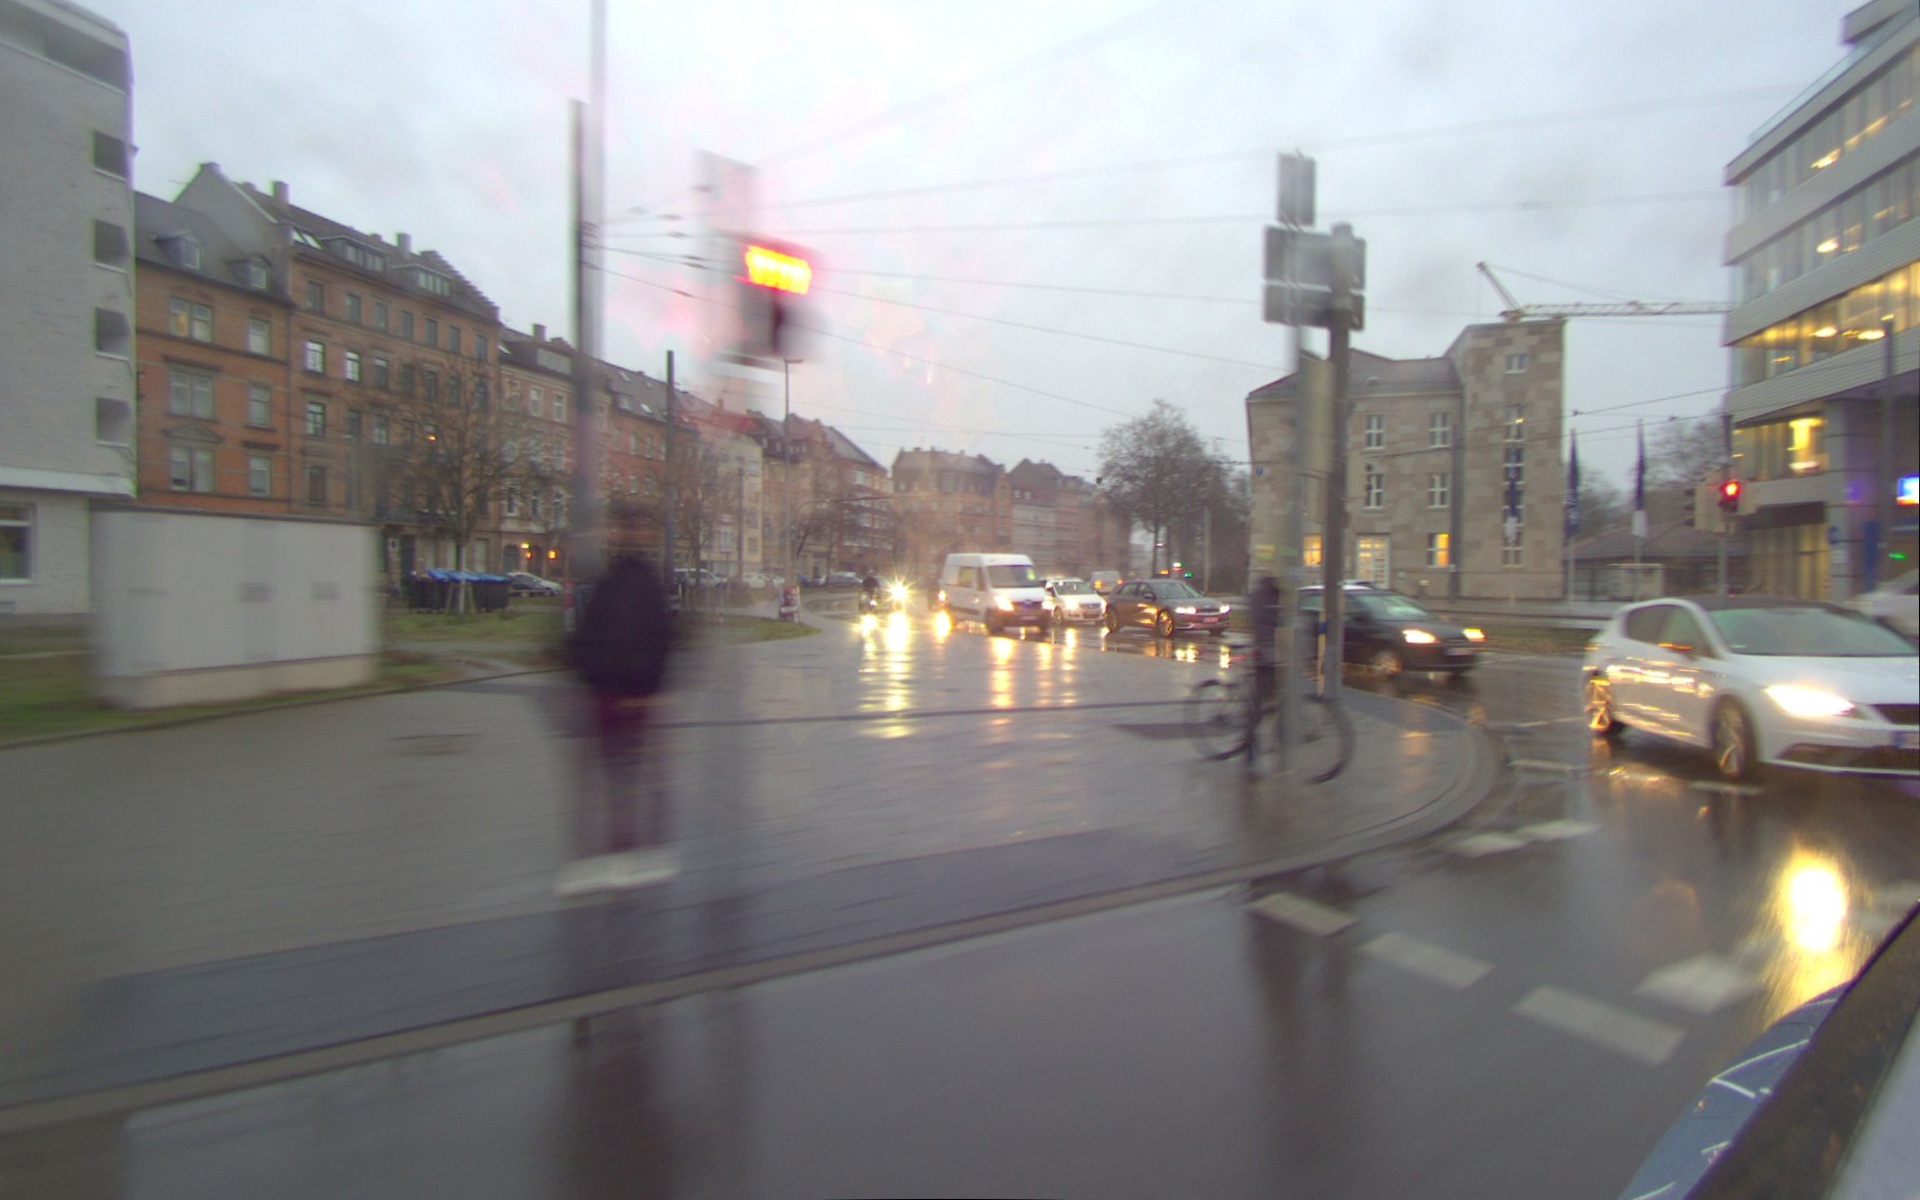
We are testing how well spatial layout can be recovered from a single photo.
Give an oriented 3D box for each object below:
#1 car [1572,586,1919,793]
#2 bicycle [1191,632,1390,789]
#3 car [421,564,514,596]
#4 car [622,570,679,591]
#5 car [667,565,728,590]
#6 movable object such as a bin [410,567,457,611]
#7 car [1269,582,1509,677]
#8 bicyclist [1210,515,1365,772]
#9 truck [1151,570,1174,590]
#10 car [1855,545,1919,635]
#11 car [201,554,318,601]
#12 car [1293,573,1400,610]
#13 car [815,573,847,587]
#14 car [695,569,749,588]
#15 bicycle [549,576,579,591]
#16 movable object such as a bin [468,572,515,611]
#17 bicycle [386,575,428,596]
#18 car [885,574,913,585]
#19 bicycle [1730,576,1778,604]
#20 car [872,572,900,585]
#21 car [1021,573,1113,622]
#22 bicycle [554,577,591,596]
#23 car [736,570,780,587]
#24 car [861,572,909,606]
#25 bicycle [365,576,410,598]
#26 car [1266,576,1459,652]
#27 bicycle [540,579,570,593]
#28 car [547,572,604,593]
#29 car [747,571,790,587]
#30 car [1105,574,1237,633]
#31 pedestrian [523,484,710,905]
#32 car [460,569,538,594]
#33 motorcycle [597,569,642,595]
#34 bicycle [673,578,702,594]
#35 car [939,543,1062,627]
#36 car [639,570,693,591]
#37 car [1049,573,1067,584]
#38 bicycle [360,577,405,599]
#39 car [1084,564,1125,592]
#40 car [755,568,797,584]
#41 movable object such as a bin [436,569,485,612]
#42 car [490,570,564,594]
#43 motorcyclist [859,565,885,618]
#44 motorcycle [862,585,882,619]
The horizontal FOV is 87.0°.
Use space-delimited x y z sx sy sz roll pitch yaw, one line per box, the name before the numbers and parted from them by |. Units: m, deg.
car | 7.215 0.592 8.930 1.761 1.396 4.208 -1 0 12
bicycle | 2.531 0.800 8.006 0.643 0.985 1.870 0 1 -12
car | -25.243 -1.017 52.008 4.069 1.589 1.746 0 1 -15
car | -21.101 -1.347 69.086 3.611 1.417 1.524 0 1 -13
car | -19.366 -1.645 74.754 4.254 1.790 1.785 0 1 -14
movable object such as a bin | -19.398 -0.407 37.316 1.040 1.595 1.132 1 1 22
car | 7.353 0.425 17.747 1.688 1.405 3.830 -1 2 -21
bicyclist | 2.583 0.311 8.077 0.777 1.914 0.991 0 1 -12
truck | 20.835 -2.061 104.168 1.815 2.070 3.977 1 1 19
car | 23.760 -0.194 22.439 1.912 2.084 5.674 0 1 -17
car | -34.547 -1.105 50.077 1.971 2.216 4.642 0 1 14
car | 16.347 -0.411 43.073 1.827 1.504 4.351 0 1 -21
car | -12.921 -2.004 101.468 3.123 1.446 1.430 0 1 -5
car | -18.204 -1.636 77.521 3.883 1.463 1.704 0 1 -8
bicycle | -24.505 -1.032 62.677 1.765 0.828 0.393 2 1 8
movable object such as a bin | -17.659 -0.344 38.163 1.040 1.450 1.216 1 1 22
bicycle | -27.205 -0.728 49.768 1.759 0.943 0.446 2 1 -8
car | -7.007 -2.368 116.437 3.124 1.299 1.383 0 1 -4
bicycle | 33.627 -0.422 42.869 1.478 1.141 0.525 1 1 19
car | -8.255 -2.445 112.945 3.124 1.431 1.383 0 1 -4
car | 3.729 -0.139 36.019 1.641 1.619 4.232 0 1 -19
bicycle | -21.491 -0.746 56.174 0.534 1.031 1.883 3 1 35
car | -16.580 -1.742 83.205 3.540 1.387 1.621 0 1 -9
car | -3.791 -0.571 50.830 1.863 1.619 4.015 0 1 -12
bicycle | -26.445 -0.617 46.743 1.759 0.943 0.446 2 1 -8
car | 8.813 0.224 22.514 1.727 1.481 3.925 -2 2 -23
bicycle | -24.640 -0.878 61.576 1.767 0.787 0.444 2 1 11
car | -24.414 -1.131 64.389 3.232 1.322 1.524 0 1 -13
car | -16.204 -1.777 85.730 3.540 1.387 1.621 0 1 -9
car | 6.052 0.050 29.618 1.788 1.589 4.372 0 1 -19
pedestrian | -1.642 0.422 4.935 0.760 1.901 0.636 0 1 -8
car | -24.764 -0.990 54.482 3.611 1.322 1.746 0 1 -15
motorcycle | -20.138 -1.072 59.849 2.314 1.362 0.885 3 2 1
bicycle | -17.355 -0.919 64.367 1.770 0.943 0.444 3 1 15
car | 1.190 -0.548 33.202 2.196 2.493 5.683 -1 2 -18
car | -20.804 -1.370 71.808 3.611 1.455 1.524 0 1 -13
car | 12.949 -2.884 133.704 1.729 1.387 3.594 1 1 18
bicycle | -26.359 -0.544 46.209 1.759 0.943 0.446 2 1 -8
car | 10.129 -1.533 71.213 1.867 1.894 4.967 0 1 -4
car | -16.090 -2.101 88.403 3.538 1.387 1.621 0 1 -15
movable object such as a bin | -18.103 -0.353 36.706 1.040 1.529 1.244 1 1 22
car | -24.308 -0.994 56.946 3.611 1.322 1.672 0 1 -15
motorcyclist | -3.197 -0.310 36.697 0.868 1.905 0.923 0 1 -11
motorcycle | -3.199 0.050 36.769 0.474 1.198 2.414 0 1 -11
